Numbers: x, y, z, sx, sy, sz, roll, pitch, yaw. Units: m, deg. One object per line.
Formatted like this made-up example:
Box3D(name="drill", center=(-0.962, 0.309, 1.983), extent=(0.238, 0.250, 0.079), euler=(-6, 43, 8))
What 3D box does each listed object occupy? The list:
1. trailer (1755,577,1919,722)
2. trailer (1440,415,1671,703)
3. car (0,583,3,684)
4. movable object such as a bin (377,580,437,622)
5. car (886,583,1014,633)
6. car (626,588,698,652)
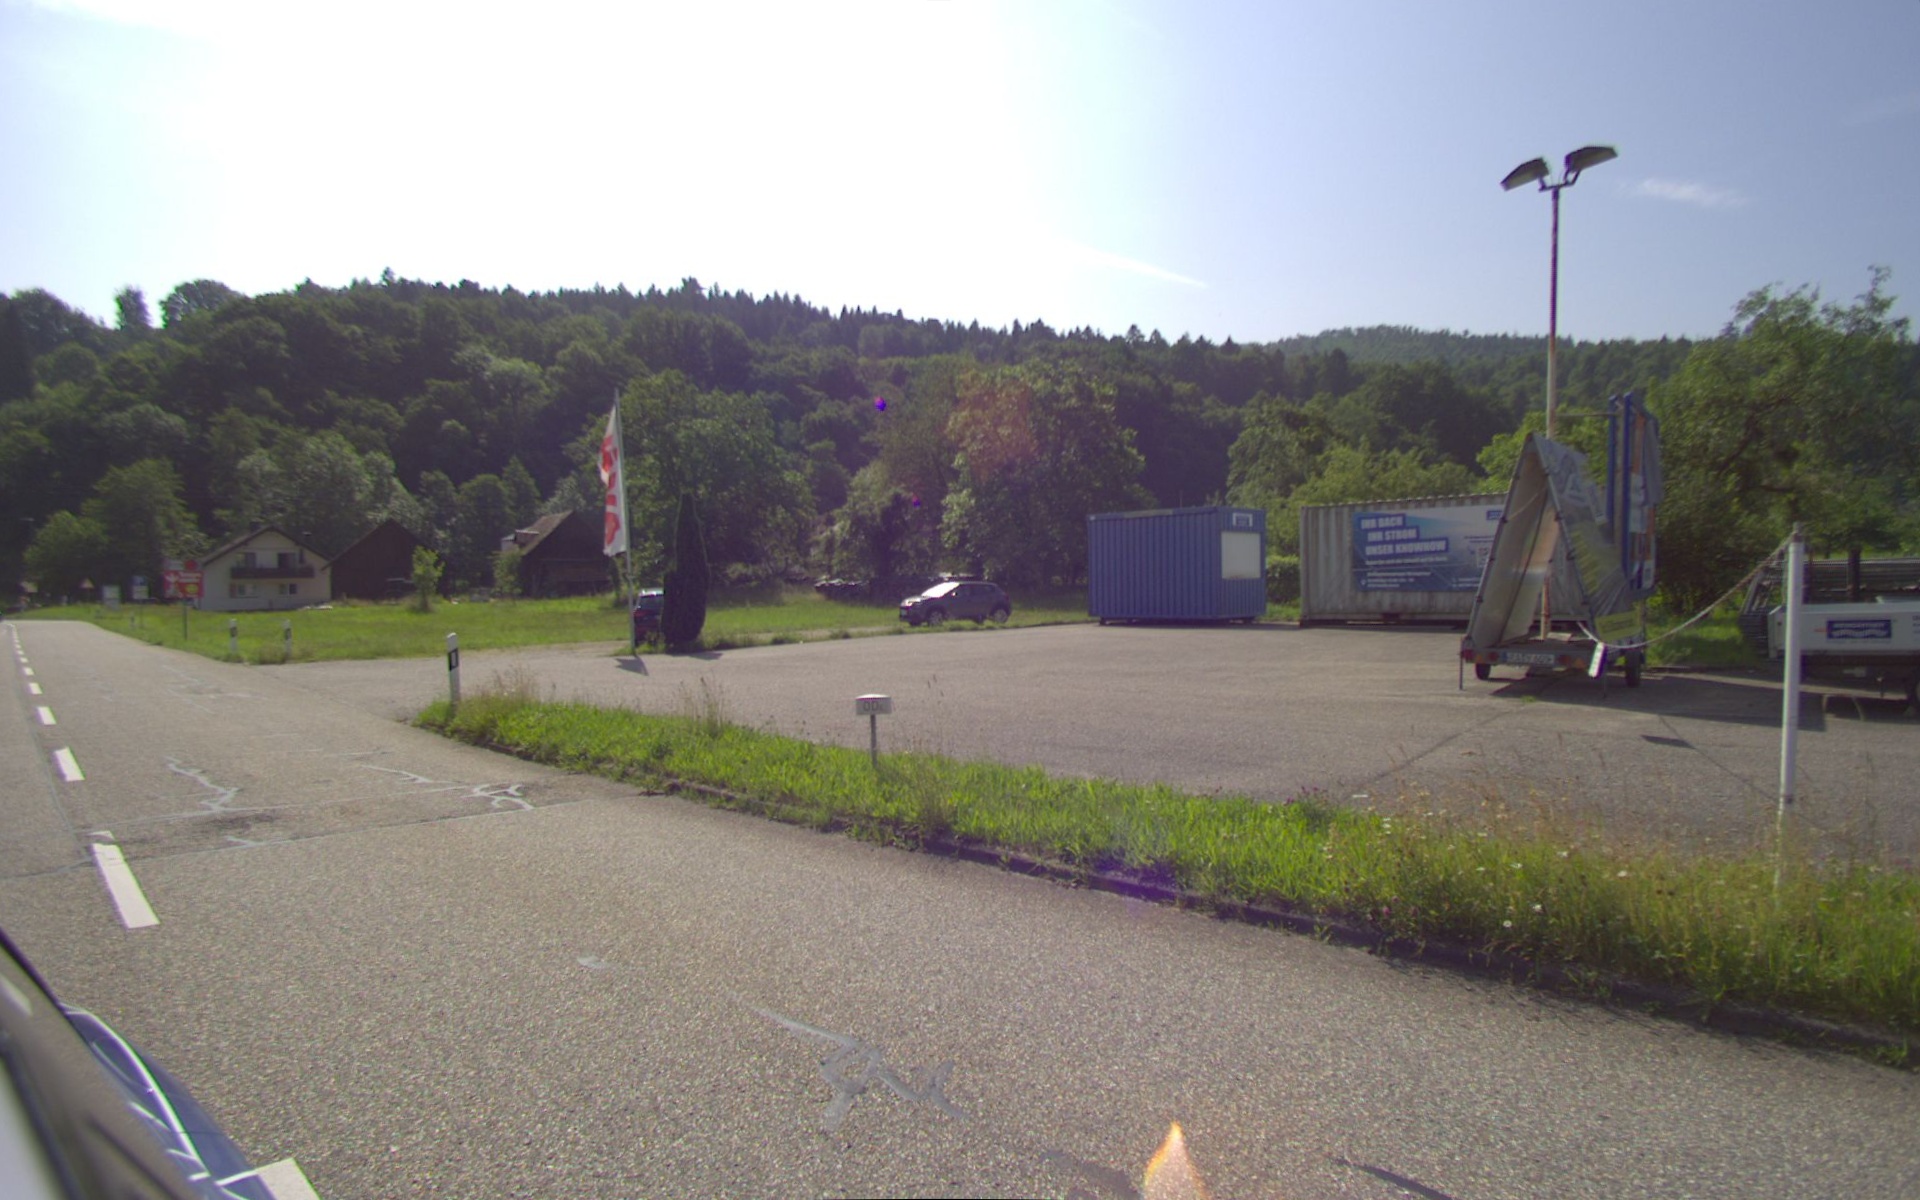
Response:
Box3D(name="trailer", center=(10.523, 0.418, 8.828), extent=(5.544, 1.235, 1.973), euler=(-1, 2, 42))
Box3D(name="trailer", center=(7.273, -0.486, 12.215), extent=(1.881, 2.933, 3.359), euler=(-1, 2, 39))
Box3D(name="car", center=(-18.887, 0.646, 18.404), extent=(1.994, 1.997, 5.055), euler=(-1, 0, -42))
Box3D(name="movable object such as a bin", center=(-44.835, 0.052, 82.024), extent=(4.121, 3.161, 2.209), euler=(-3, 1, -30))
Box3D(name="car", center=(-0.326, 0.241, 34.566), extent=(3.865, 1.496, 1.924), euler=(-3, 1, -27))
Box3D(name="car", center=(-8.808, 0.523, 29.974), extent=(1.805, 1.661, 4.922), euler=(-2, 1, -16))
